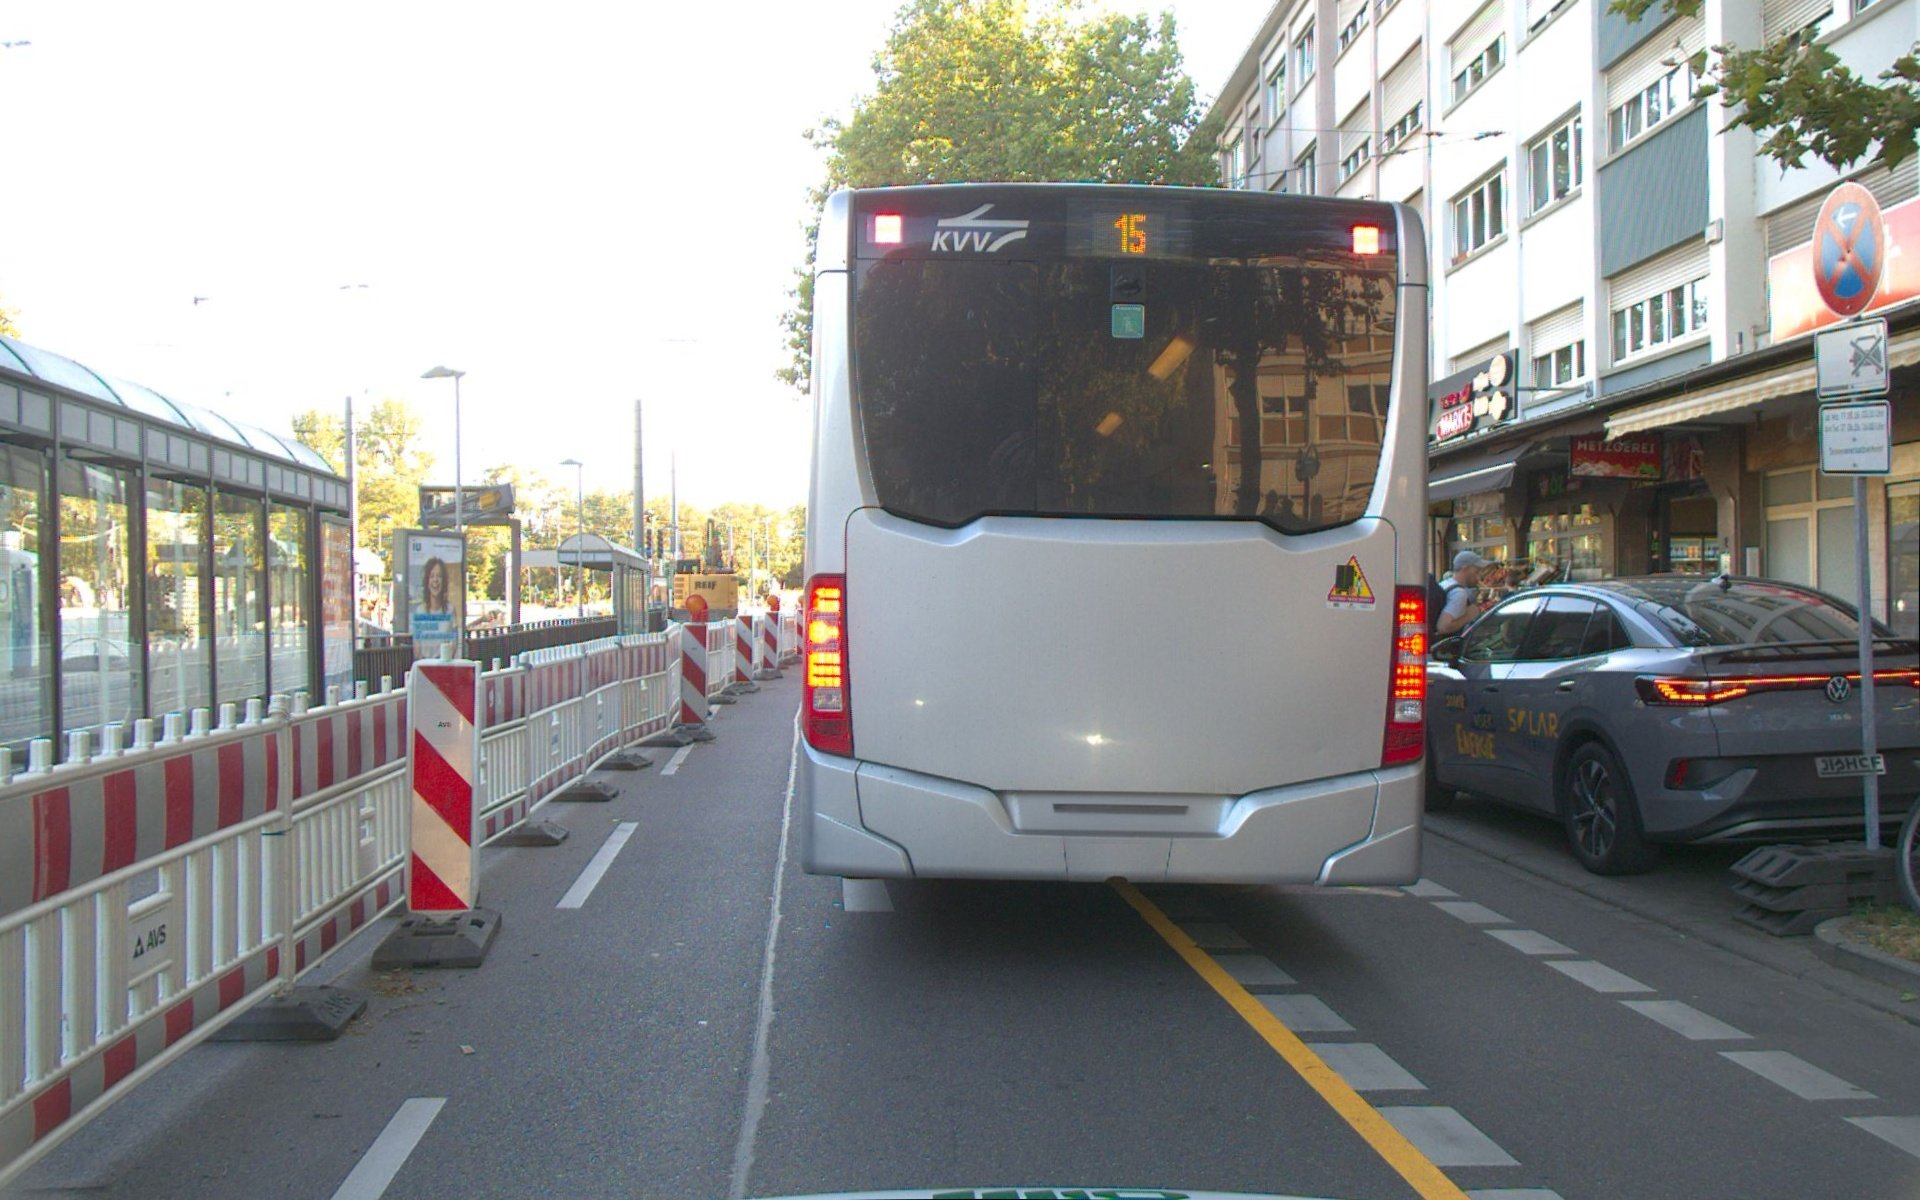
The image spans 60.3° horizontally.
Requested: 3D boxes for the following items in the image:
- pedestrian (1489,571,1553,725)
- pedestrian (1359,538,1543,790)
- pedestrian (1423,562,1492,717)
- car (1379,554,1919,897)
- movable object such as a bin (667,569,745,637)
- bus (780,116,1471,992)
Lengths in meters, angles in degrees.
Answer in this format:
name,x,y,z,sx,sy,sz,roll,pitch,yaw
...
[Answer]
name,x,y,z,sx,sy,sz,roll,pitch,yaw
pedestrian,7.612,0.638,22.467,0.600,2.049,0.696,-1,0,-2
pedestrian,3.900,0.490,13.231,1.097,1.923,1.024,-1,0,-5
pedestrian,6.732,0.527,22.393,0.677,2.049,0.696,-1,0,-3
car,4.228,0.607,10.357,1.706,1.625,4.294,-3,0,-5
movable object such as a bin,-9.707,0.103,63.520,2.752,2.505,3.995,-1,0,-6
bus,0.575,-0.184,11.258,2.555,3.225,10.290,0,0,-1
